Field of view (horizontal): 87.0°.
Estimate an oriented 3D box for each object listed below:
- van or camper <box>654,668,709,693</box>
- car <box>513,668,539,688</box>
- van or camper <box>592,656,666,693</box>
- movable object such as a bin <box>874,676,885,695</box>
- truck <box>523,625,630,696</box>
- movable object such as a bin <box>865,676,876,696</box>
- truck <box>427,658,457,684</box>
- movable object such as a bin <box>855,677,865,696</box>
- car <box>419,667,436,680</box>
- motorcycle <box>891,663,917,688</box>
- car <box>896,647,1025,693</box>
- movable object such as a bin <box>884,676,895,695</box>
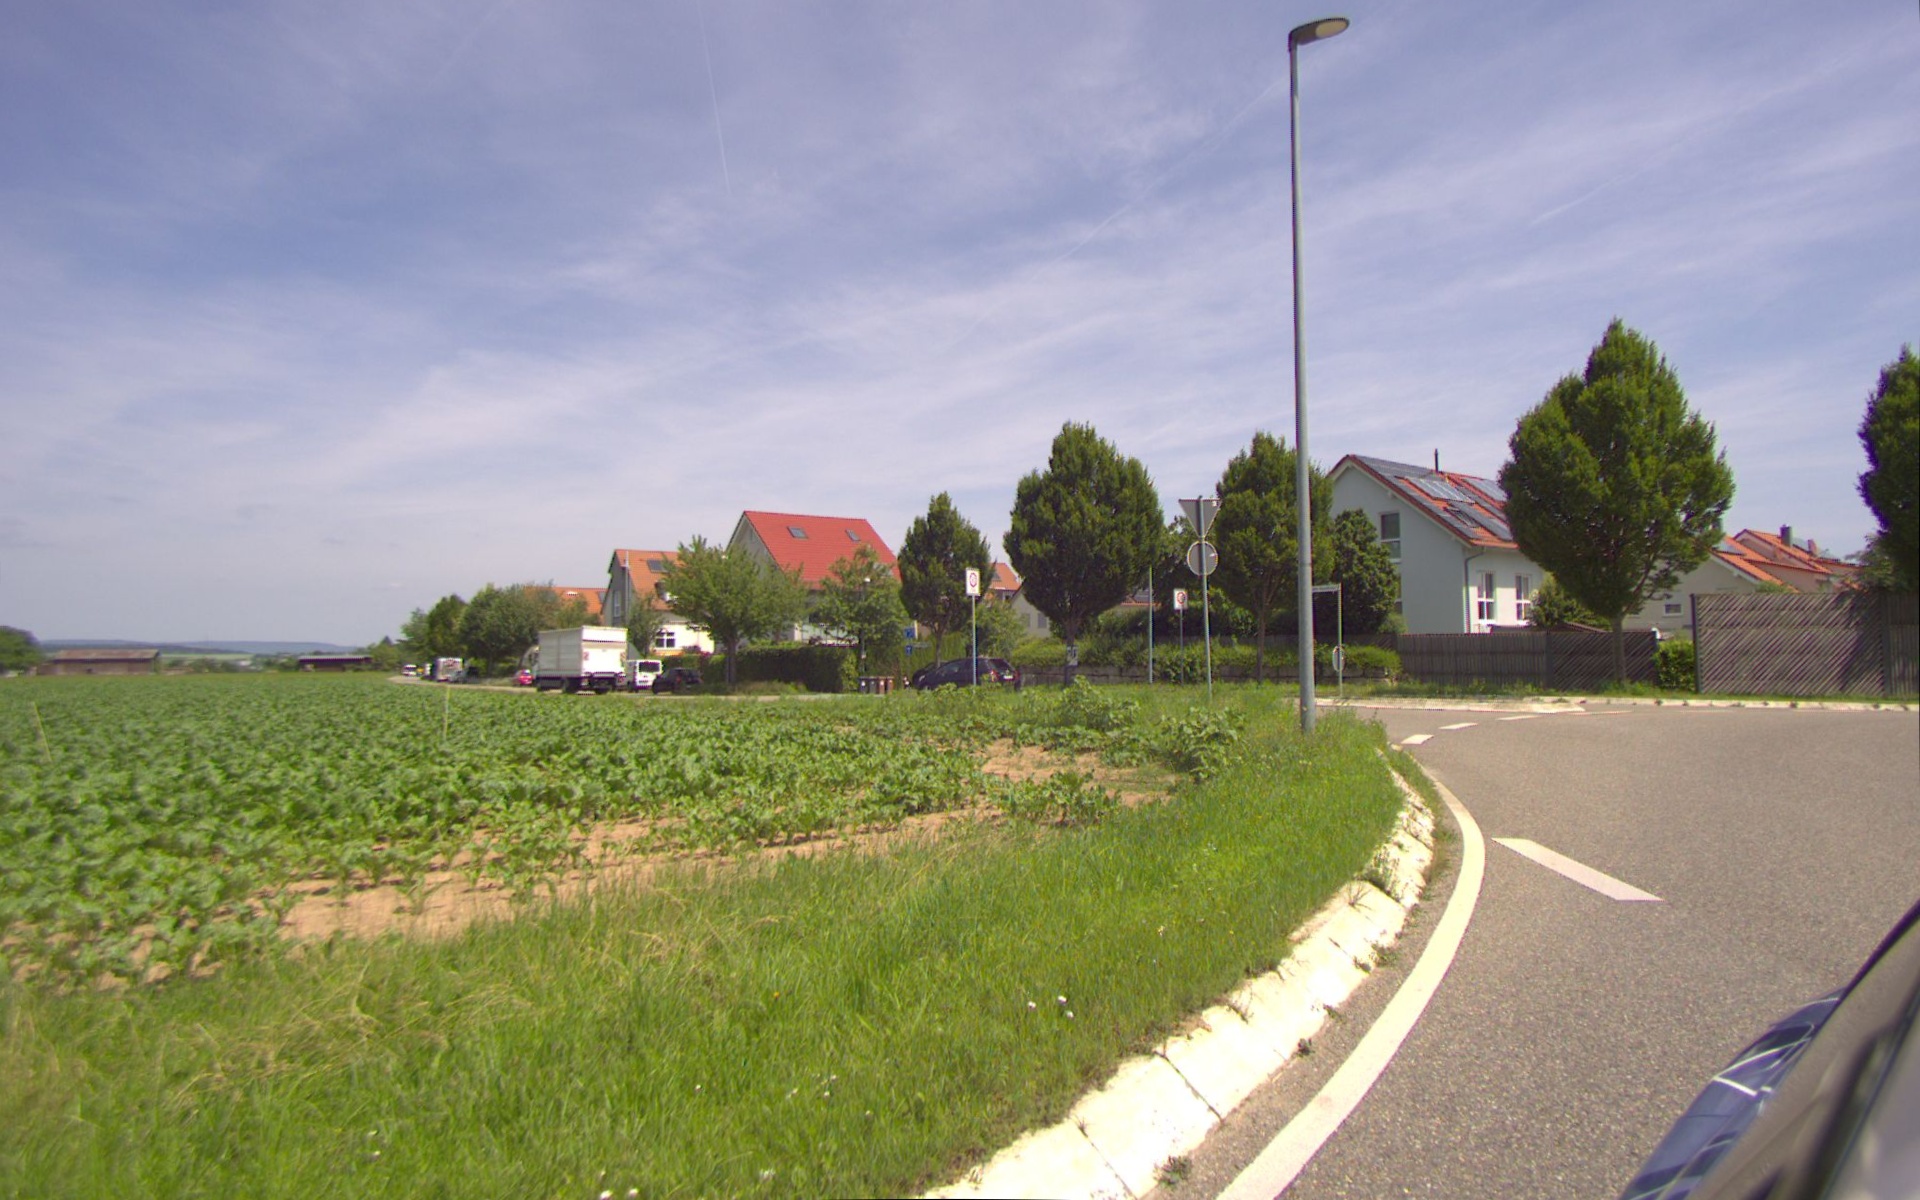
[{"bbox_3d":[-15.192,4.416,55.146,1.569,1.237,3.680,2,-6,-38],"label":"van or camper"},{"bbox_3d":[-36.186,6.498,84.404,1.492,1.403,3.489,1,-1,-31],"label":"car"},{"bbox_3d":[-20.429,4.641,62.226,2.067,2.063,6.767,2,-6,-38],"label":"van or camper"},{"bbox_3d":[-4.186,4.445,52.441,0.432,0.979,0.500,1,-4,-21],"label":"movable object such as a bin"},{"bbox_3d":[-22.066,3.543,57.847,2.726,3.720,9.364,3,-6,-40],"label":"truck"},{"bbox_3d":[-4.629,4.439,52.259,0.432,0.979,0.500,1,-4,-21],"label":"movable object such as a bin"},{"bbox_3d":[-62.030,8.501,121.140,2.067,2.926,6.770,2,-5,-37],"label":"truck"},{"bbox_3d":[-5.143,4.430,52.050,0.432,0.979,0.500,1,-4,-21],"label":"movable object such as a bin"},{"bbox_3d":[-70.973,9.779,134.866,1.392,1.683,3.232,2,-5,-37],"label":"car"},{"bbox_3d":[-3.136,4.213,56.796,0.833,1.366,1.663,1,-4,-27],"label":"motorcycle"},{"bbox_3d":[-0.020,2.446,34.983,4.408,1.484,1.654,-4,-6,38],"label":"car"},{"bbox_3d":[-3.678,4.451,52.634,0.432,0.979,0.500,1,-4,-21],"label":"movable object such as a bin"}]
